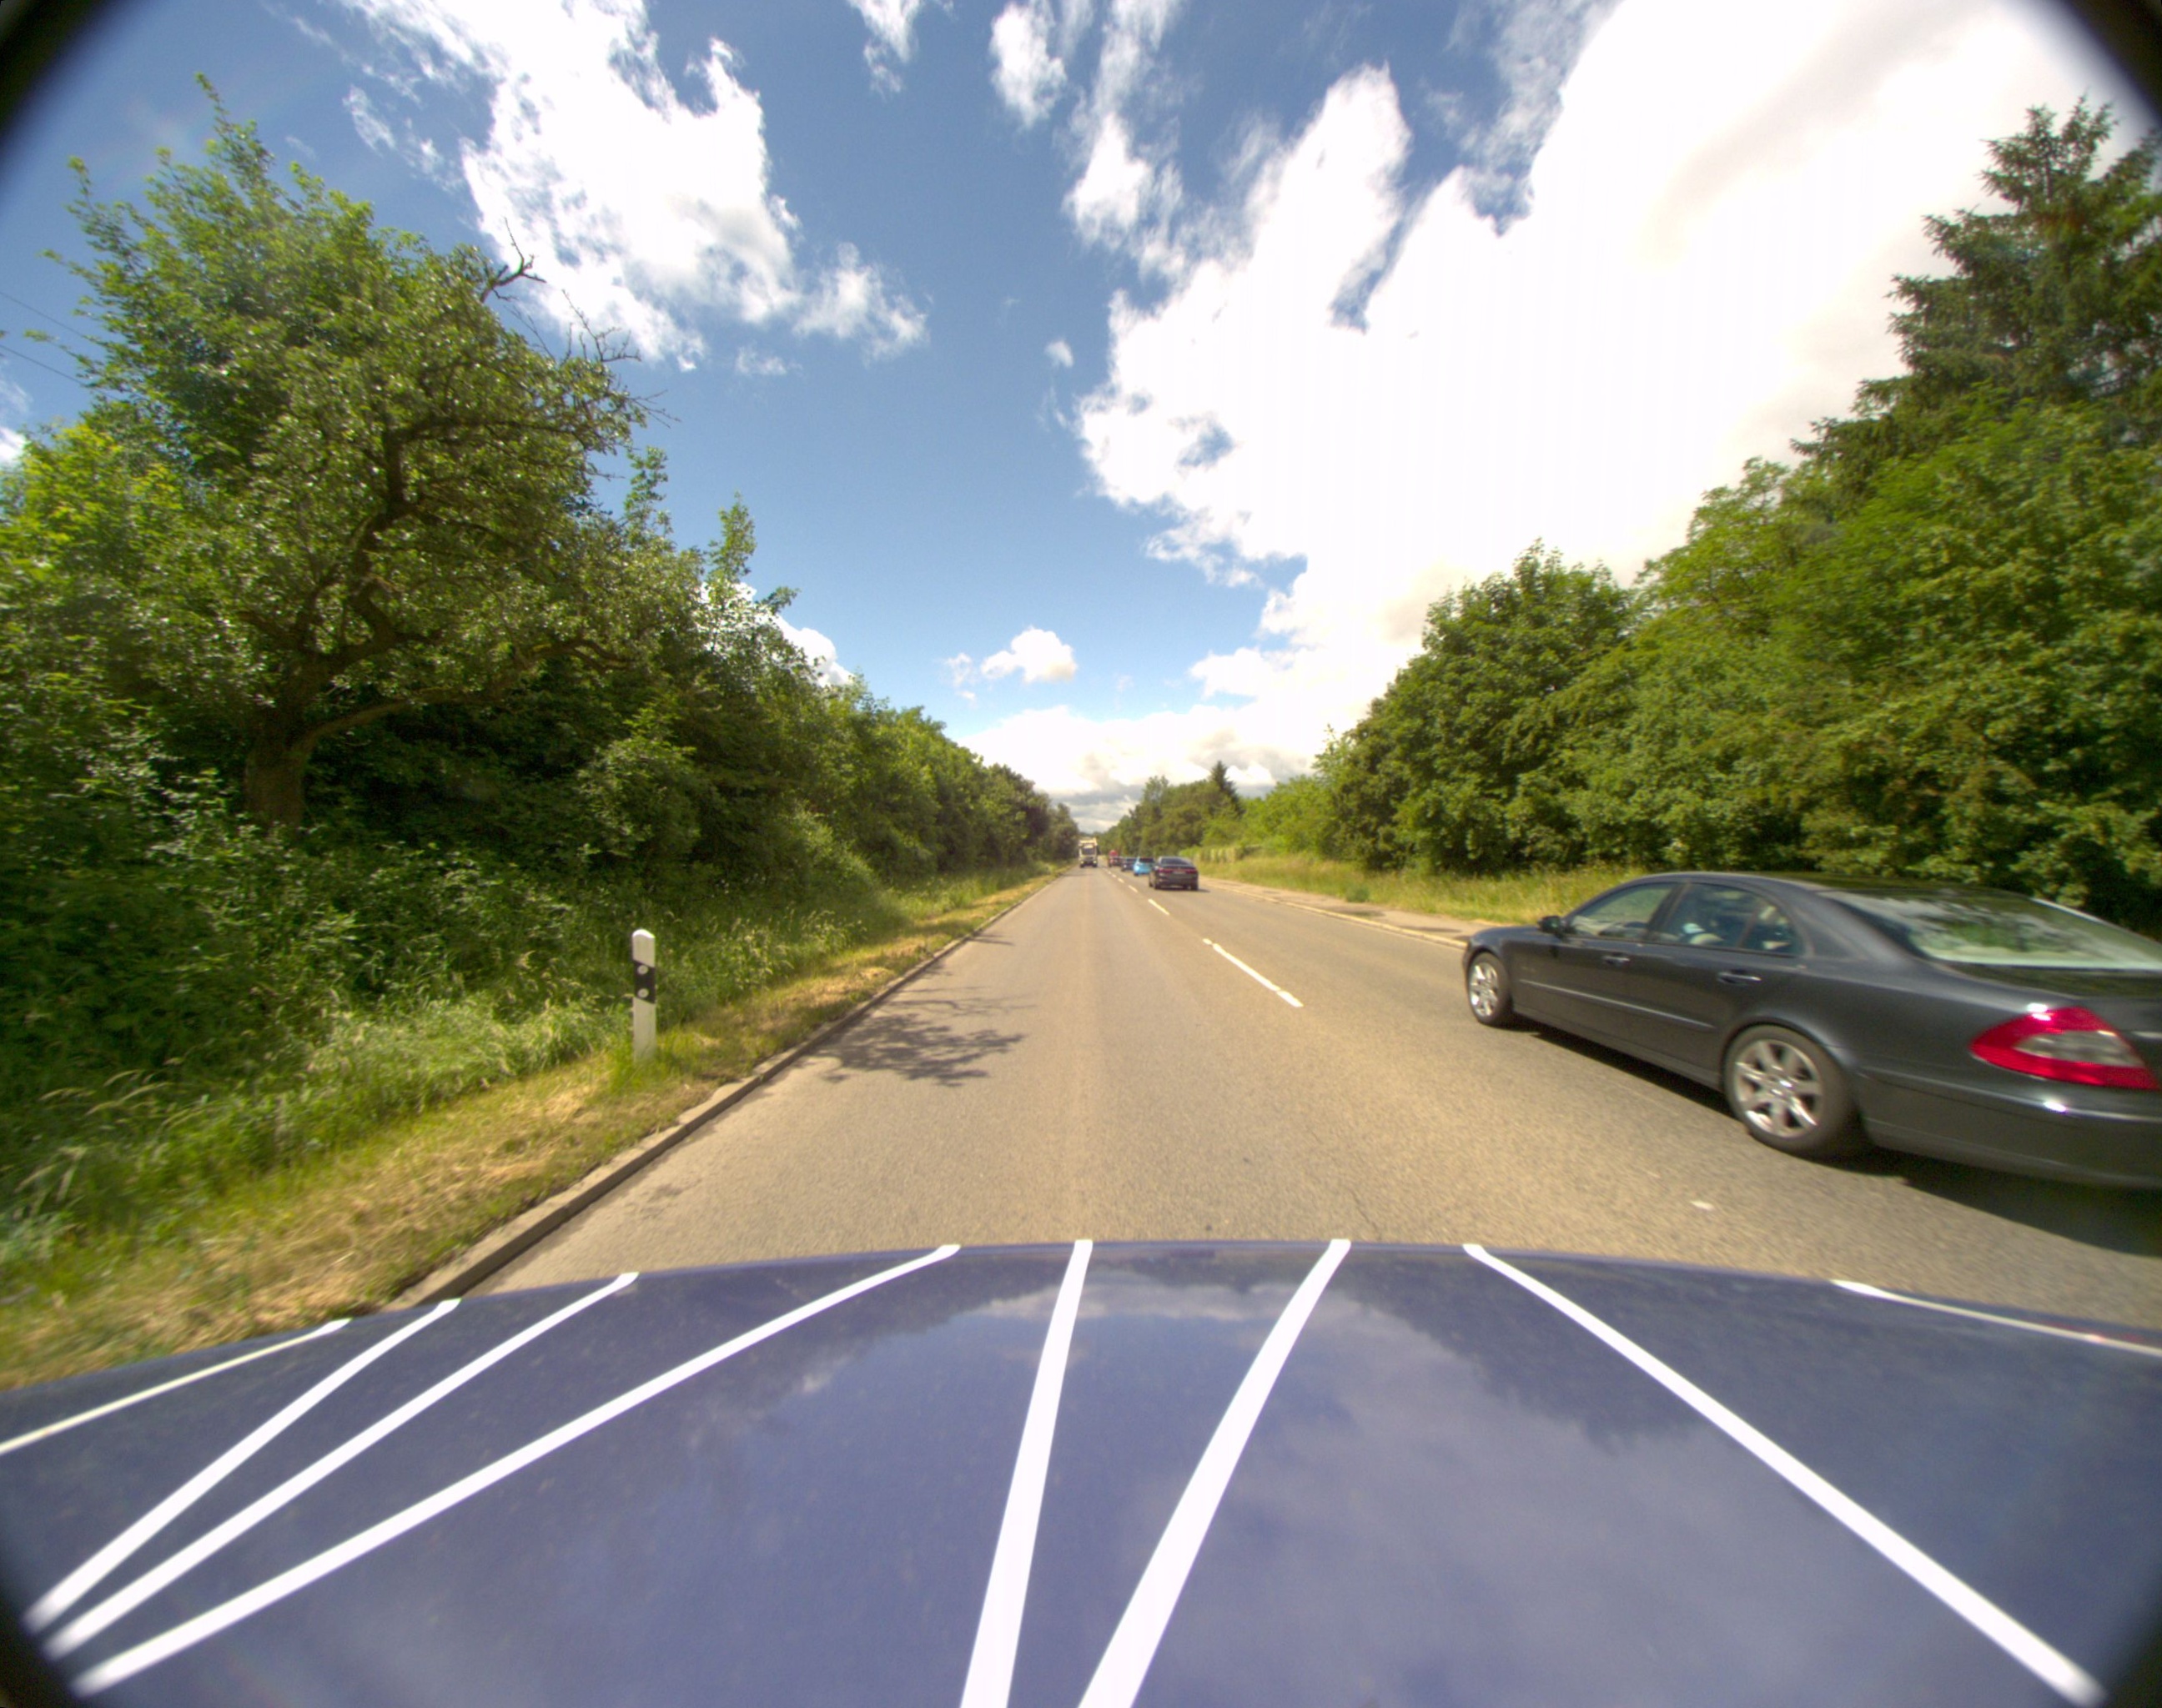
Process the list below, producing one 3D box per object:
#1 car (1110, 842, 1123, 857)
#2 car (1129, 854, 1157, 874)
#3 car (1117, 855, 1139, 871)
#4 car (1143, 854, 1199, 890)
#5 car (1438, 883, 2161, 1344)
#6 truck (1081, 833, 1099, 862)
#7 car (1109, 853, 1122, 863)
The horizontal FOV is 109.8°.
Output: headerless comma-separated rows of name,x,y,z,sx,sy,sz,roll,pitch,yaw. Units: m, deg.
car,6.082,-0.712,130.109,1.974,2.535,4.725,2,0,1
car,4.736,0.750,58.235,1.789,1.438,2.966,1,0,-1
car,4.639,0.864,75.612,1.789,1.438,4.452,1,0,-1
car,3.968,0.765,34.239,1.889,1.483,4.717,1,0,-1
car,4.258,0.947,4.776,1.789,1.326,4.622,1,0,-1
truck,1.225,-0.904,107.695,2.306,3.790,8.183,-2,0,0
car,5.154,0.597,112.757,1.720,1.462,4.000,2,0,0
